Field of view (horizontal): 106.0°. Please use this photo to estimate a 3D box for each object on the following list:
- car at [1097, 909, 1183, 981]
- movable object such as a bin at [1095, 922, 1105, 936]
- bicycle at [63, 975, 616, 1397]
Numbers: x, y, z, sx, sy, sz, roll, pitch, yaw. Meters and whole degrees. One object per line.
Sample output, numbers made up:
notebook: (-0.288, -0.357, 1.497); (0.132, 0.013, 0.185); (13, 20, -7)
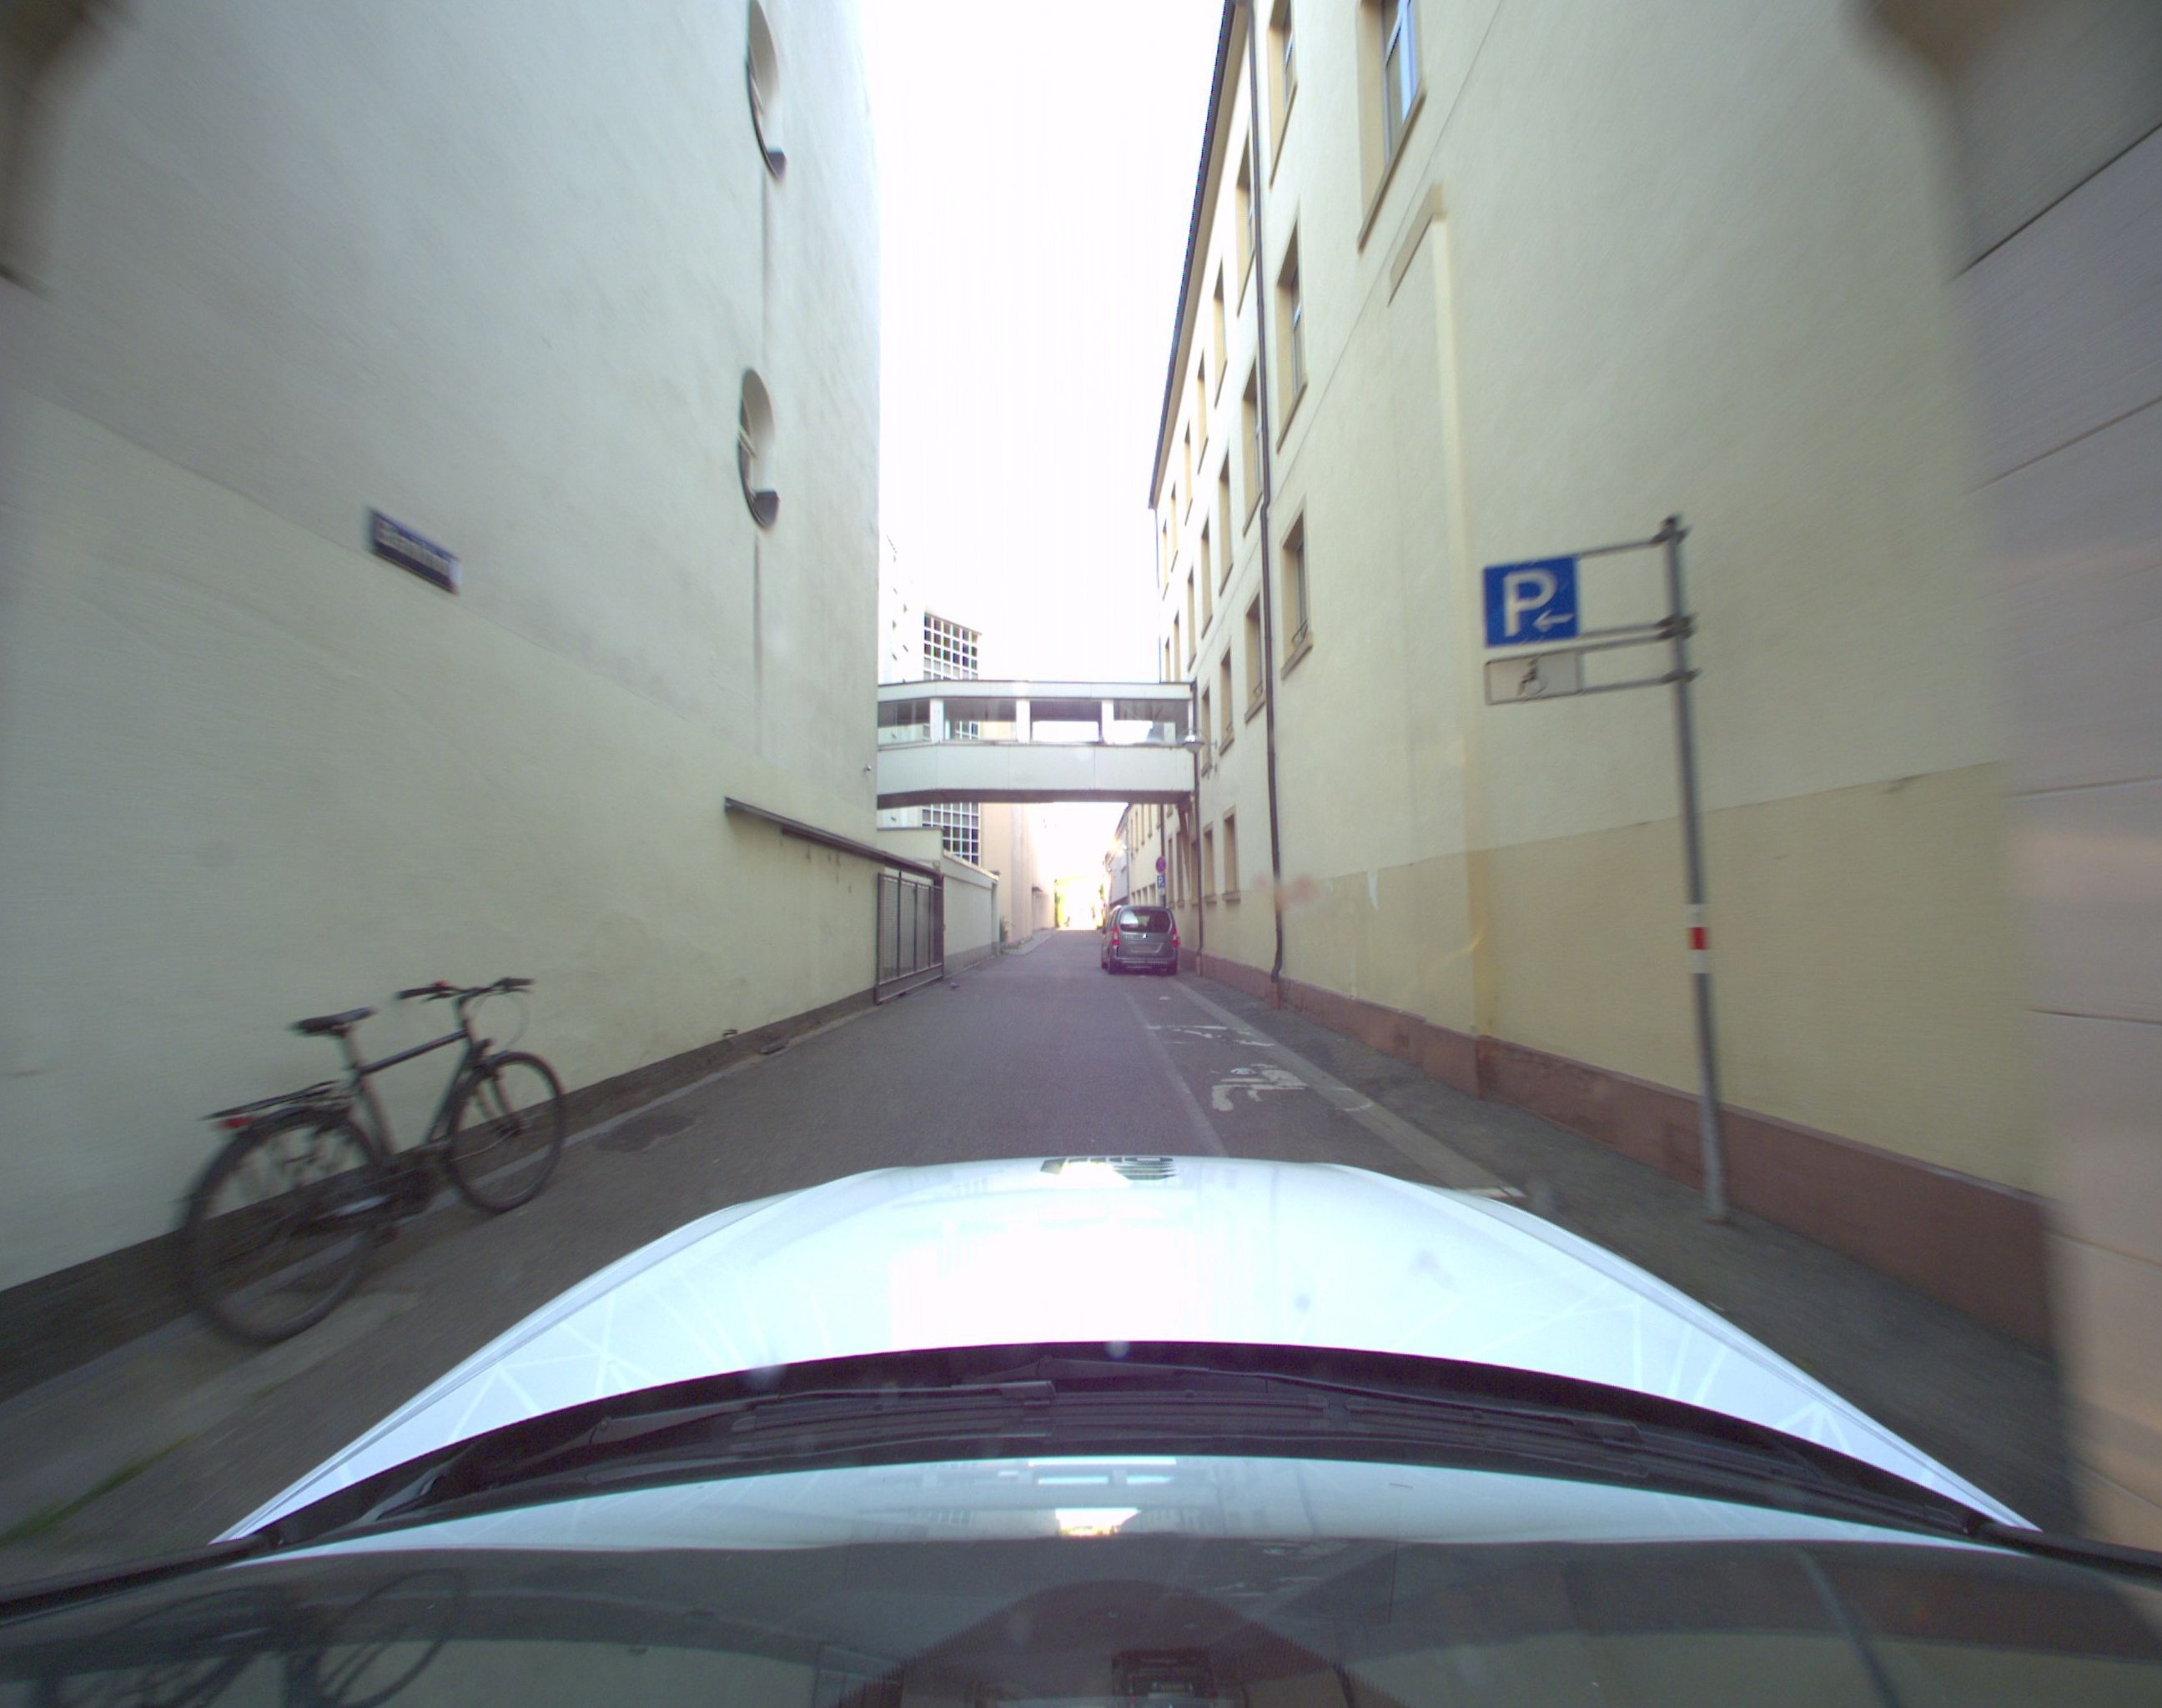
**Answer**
car: (1.536, 2.478, 22.559); (1.851, 1.757, 4.156); (2, -5, -2)
movable object such as a bin: (2.252, 8.683, 94.451); (1.103, 1.436, 1.413); (-1, -2, 0)
bicycle: (-2.712, 1.115, 3.319); (0.593, 1.079, 1.755); (-1, -4, 0)
